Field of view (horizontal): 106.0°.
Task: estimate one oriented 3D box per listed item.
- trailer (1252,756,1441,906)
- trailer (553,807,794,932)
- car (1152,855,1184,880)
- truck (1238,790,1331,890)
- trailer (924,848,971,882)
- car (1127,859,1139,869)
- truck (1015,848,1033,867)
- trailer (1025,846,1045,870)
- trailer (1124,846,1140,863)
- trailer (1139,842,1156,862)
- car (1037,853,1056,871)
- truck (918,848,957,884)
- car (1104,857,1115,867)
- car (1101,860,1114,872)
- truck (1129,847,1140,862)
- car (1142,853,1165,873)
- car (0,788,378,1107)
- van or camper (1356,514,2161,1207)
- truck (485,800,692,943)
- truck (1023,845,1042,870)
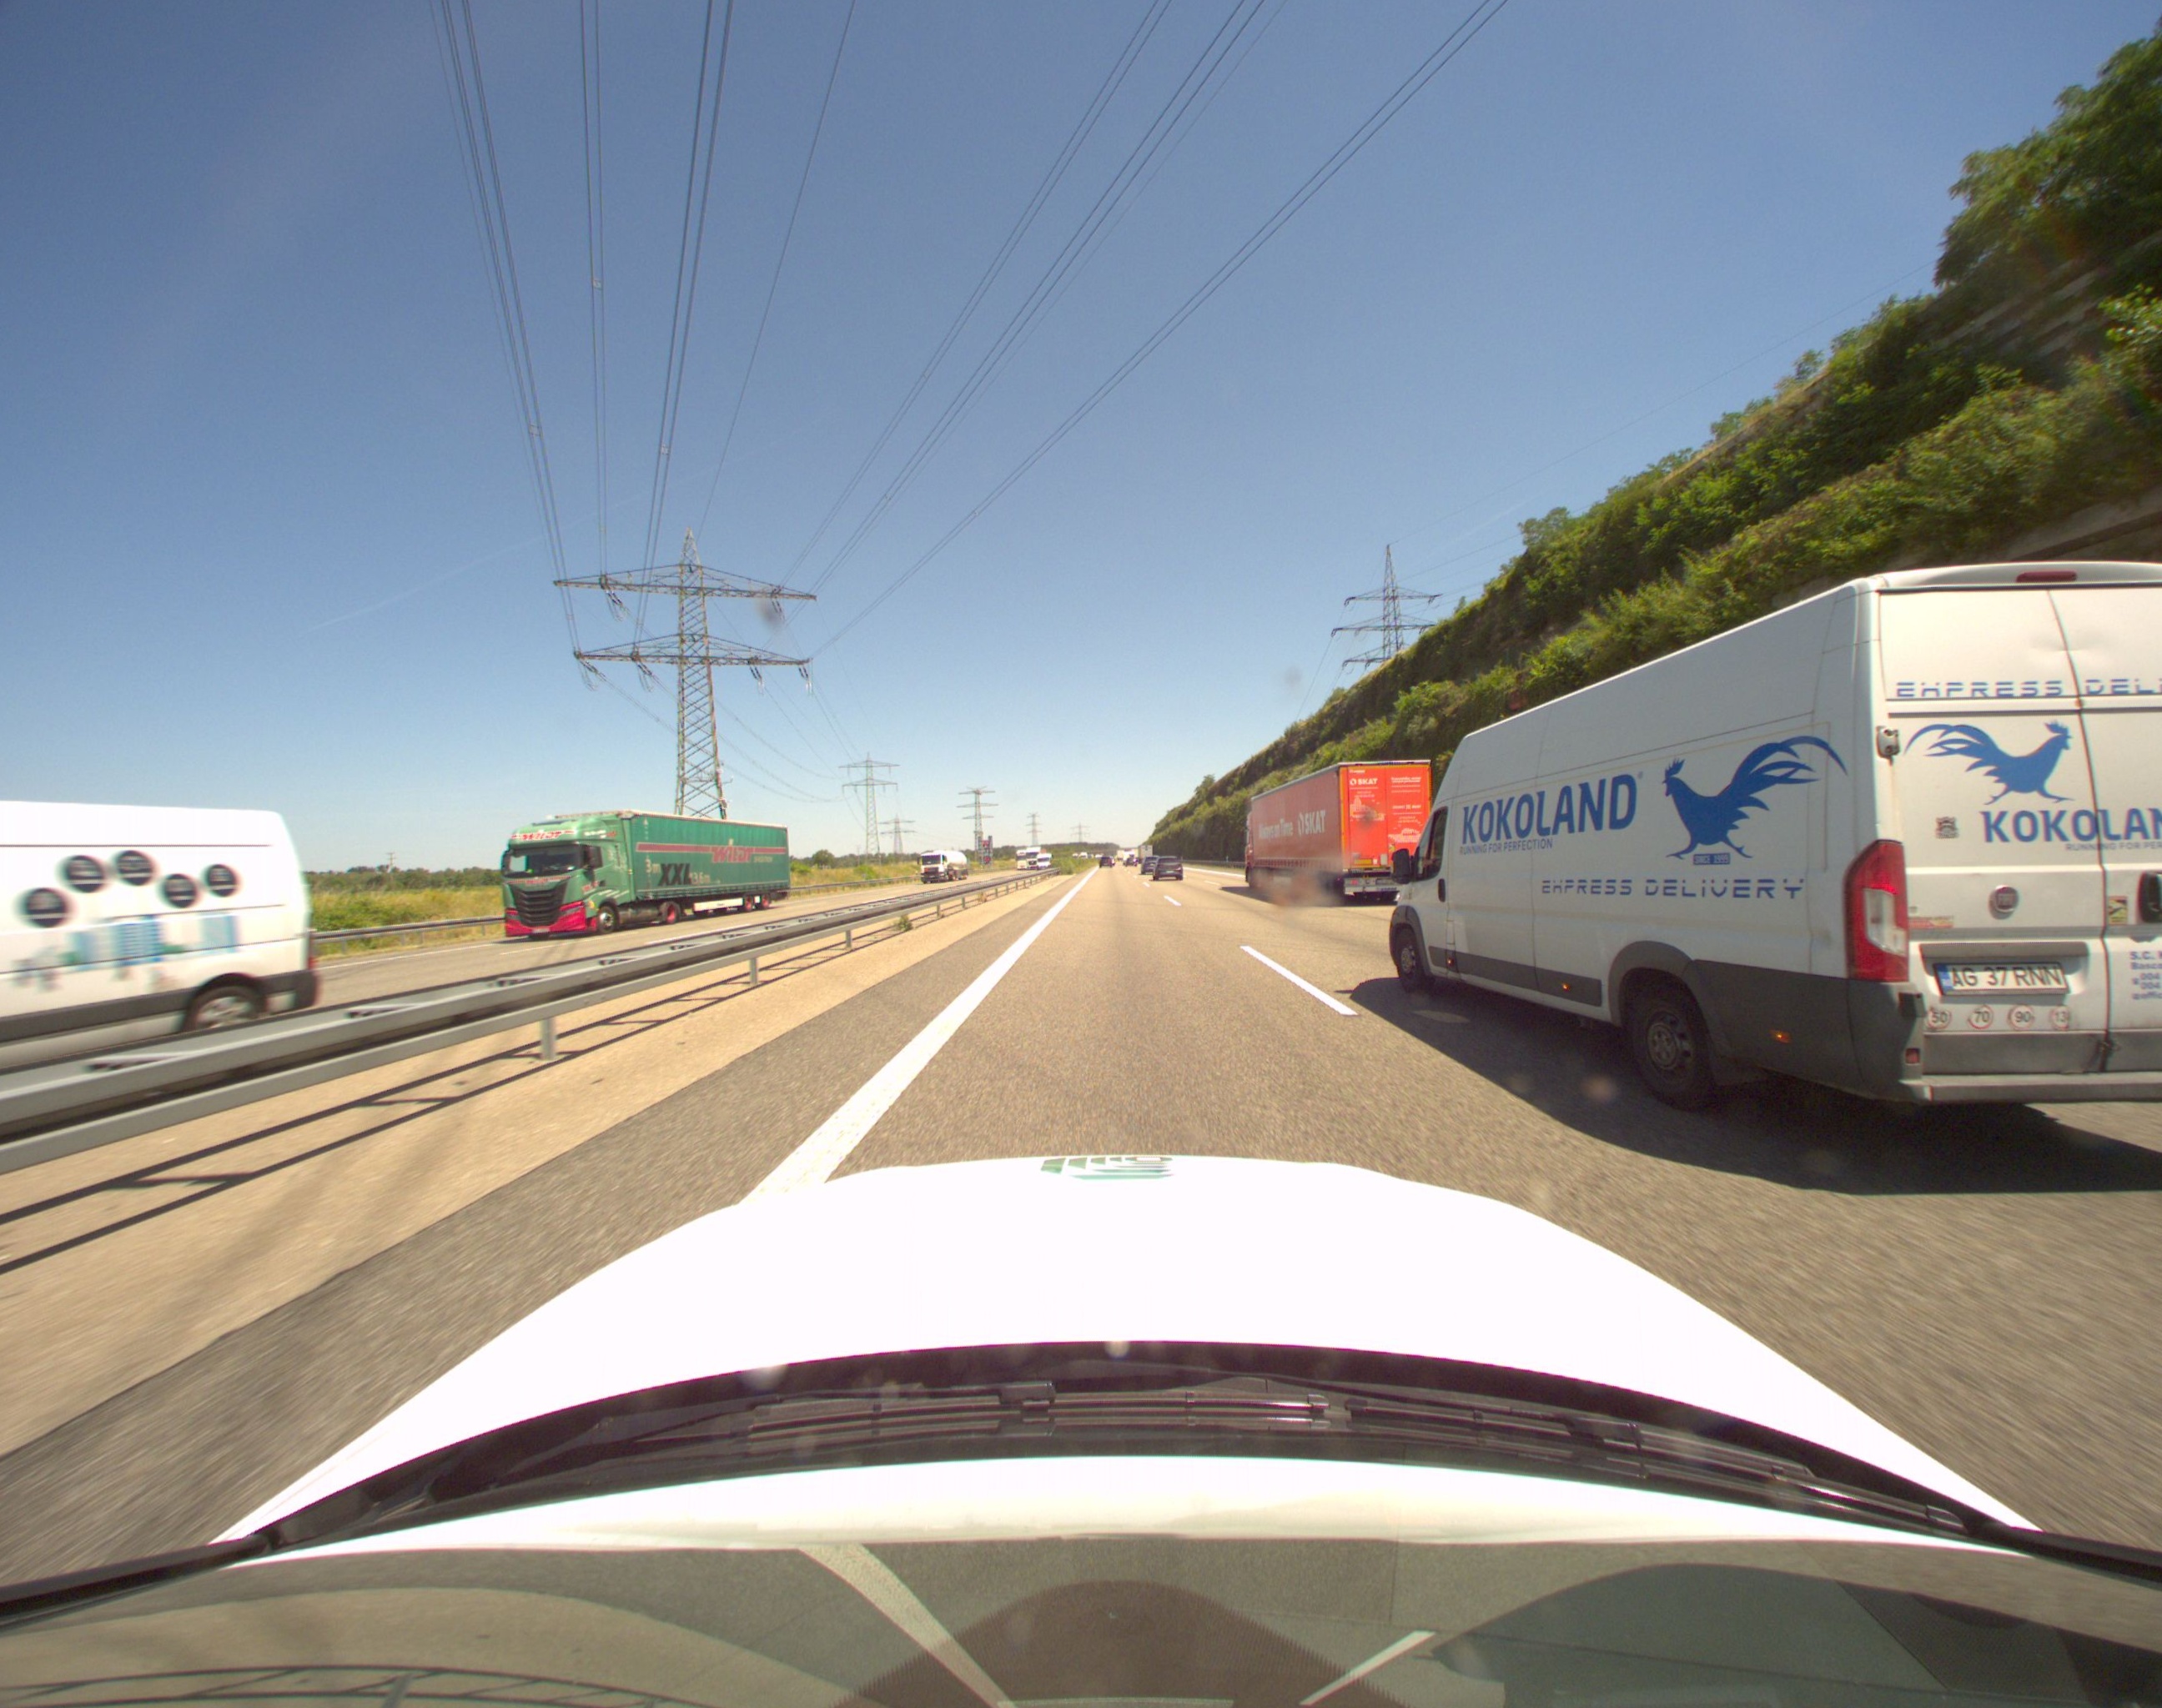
[{"bbox_3d":[8.638,-0.597,28.921,2.635,4.005,13.611,-1,0,2],"label":"trailer"},{"bbox_3d":[-16.138,0.539,34.269,2.659,4.085,13.919,-3,0,1],"label":"trailer"},{"bbox_3d":[5.650,0.867,53.108,1.743,1.525,3.996,-2,0,2],"label":"car"},{"bbox_3d":[8.857,-0.560,36.242,2.608,3.992,6.529,-2,0,2],"label":"truck"},{"bbox_3d":[-14.249,1.130,87.907,2.406,3.372,11.571,-3,0,3],"label":"trailer"},{"bbox_3d":[8.408,1.593,131.267,1.822,1.525,4.003,-3,0,3],"label":"car"},{"bbox_3d":[-11.645,0.688,166.329,2.825,3.751,6.850,-3,0,1],"label":"truck"},{"bbox_3d":[-8.615,0.717,153.965,2.582,4.238,14.331,-3,0,1],"label":"trailer"},{"bbox_3d":[9.865,0.104,157.360,2.601,3.213,9.956,-3,0,2],"label":"trailer"},{"bbox_3d":[14.526,-0.350,179.105,3.170,4.121,13.438,-3,0,2],"label":"trailer"},{"bbox_3d":[-4.902,1.103,117.185,1.985,2.437,6.034,-3,0,3],"label":"car"},{"bbox_3d":[-14.496,1.174,82.485,2.473,3.378,6.214,-3,0,2],"label":"truck"},{"bbox_3d":[5.034,1.324,143.403,1.823,1.670,4.002,-3,0,2],"label":"car"},{"bbox_3d":[4.011,1.832,122.864,1.823,1.670,4.002,-3,0,2],"label":"car"},{"bbox_3d":[16.194,0.068,247.467,3.107,4.280,11.940,-3,0,2],"label":"truck"},{"bbox_3d":[6.394,0.757,71.903,1.787,1.653,4.140,-2,0,2],"label":"car"},{"bbox_3d":[-9.312,0.772,6.429,2.040,2.438,6.070,-4,0,1],"label":"car"},{"bbox_3d":[4.402,0.017,6.672,2.089,2.769,6.758,-2,0,1],"label":"van or camper"},{"bbox_3d":[-16.293,0.538,27.611,2.689,4.134,6.582,-3,0,1],"label":"truck"},{"bbox_3d":[-8.773,0.674,146.576,2.590,4.211,5.912,-3,0,2],"label":"truck"}]
